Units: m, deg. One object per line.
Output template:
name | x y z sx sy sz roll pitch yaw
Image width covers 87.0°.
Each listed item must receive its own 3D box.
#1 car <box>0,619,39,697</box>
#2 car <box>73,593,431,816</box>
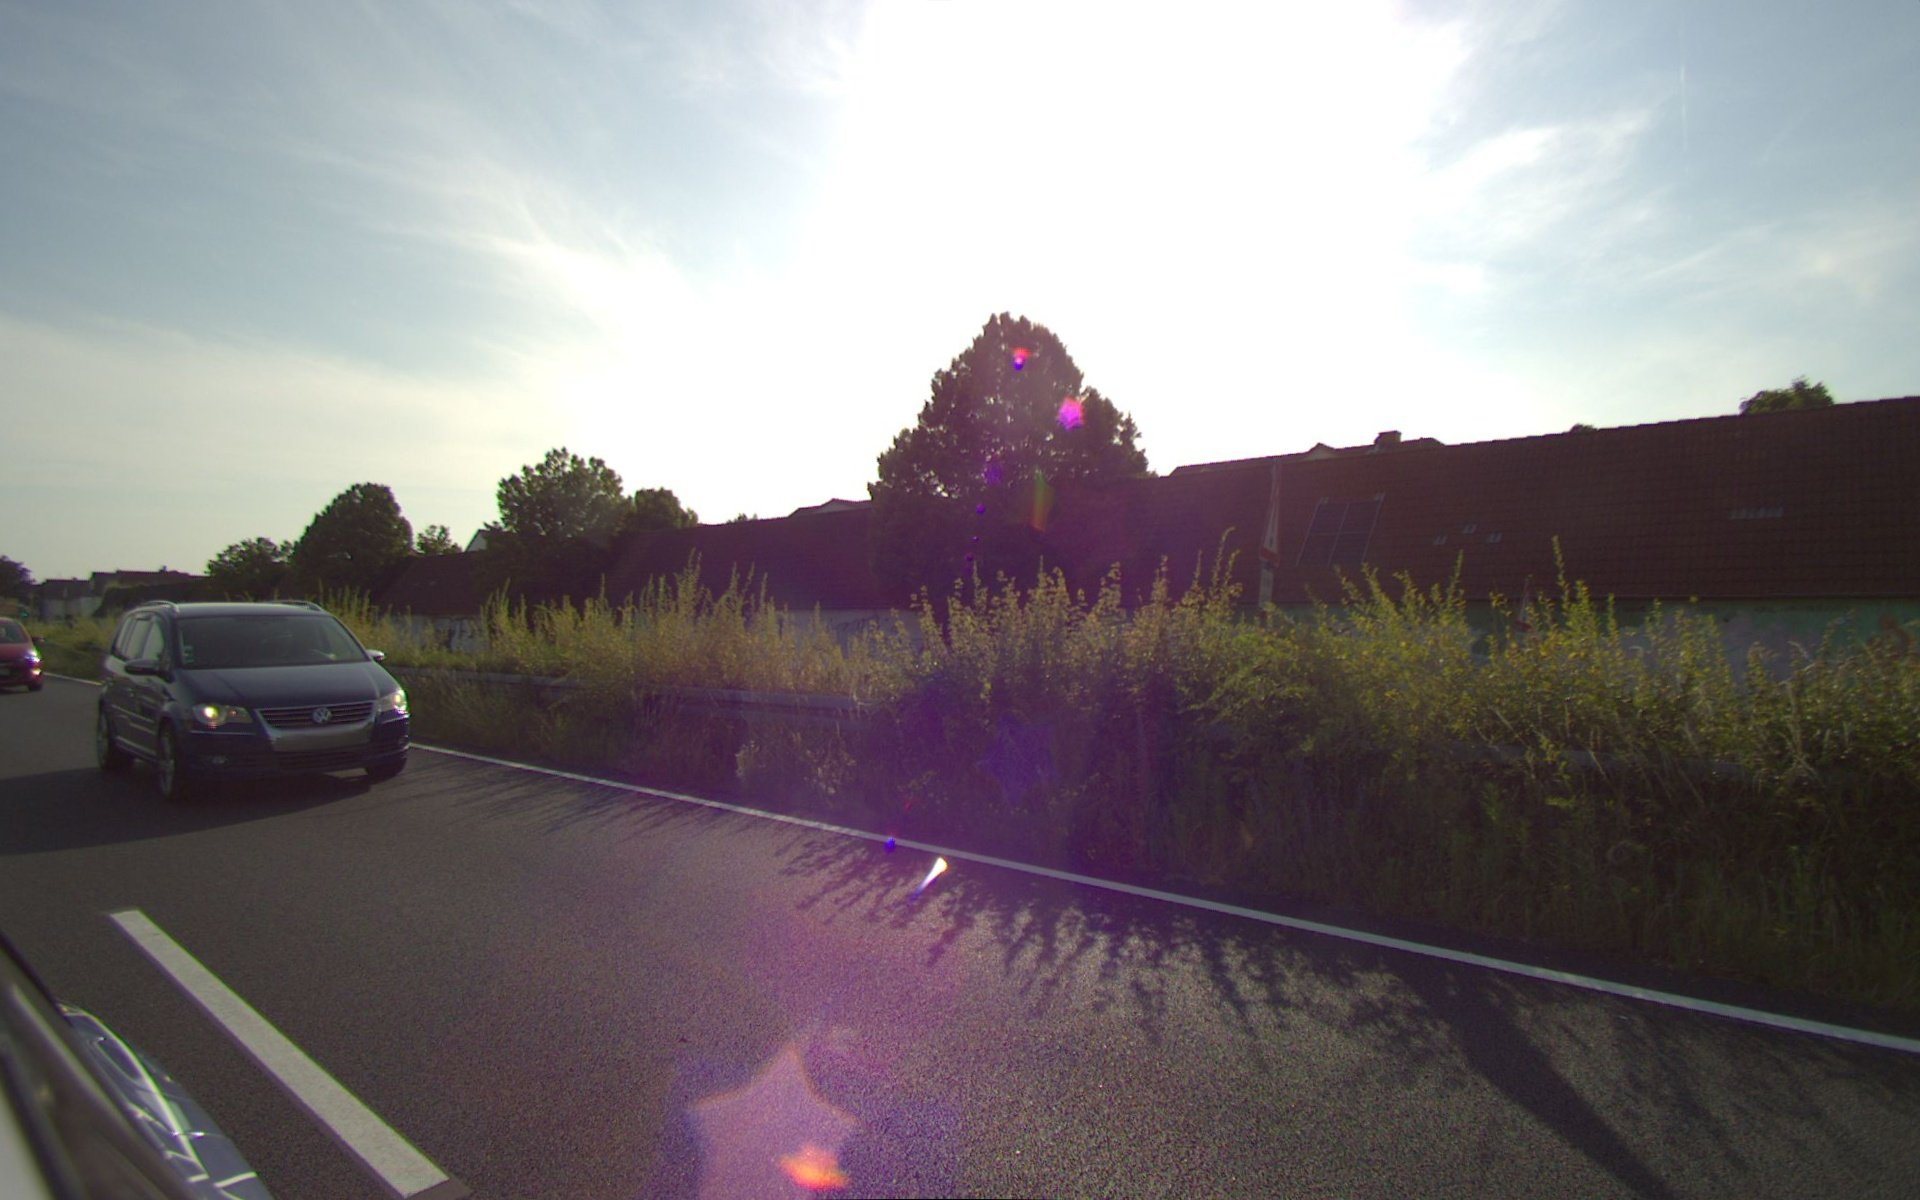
car | -21.288 1.219 21.790 3.998 1.557 1.726 0 0 41
car | -6.888 0.776 9.622 4.680 1.633 1.754 0 -1 42
